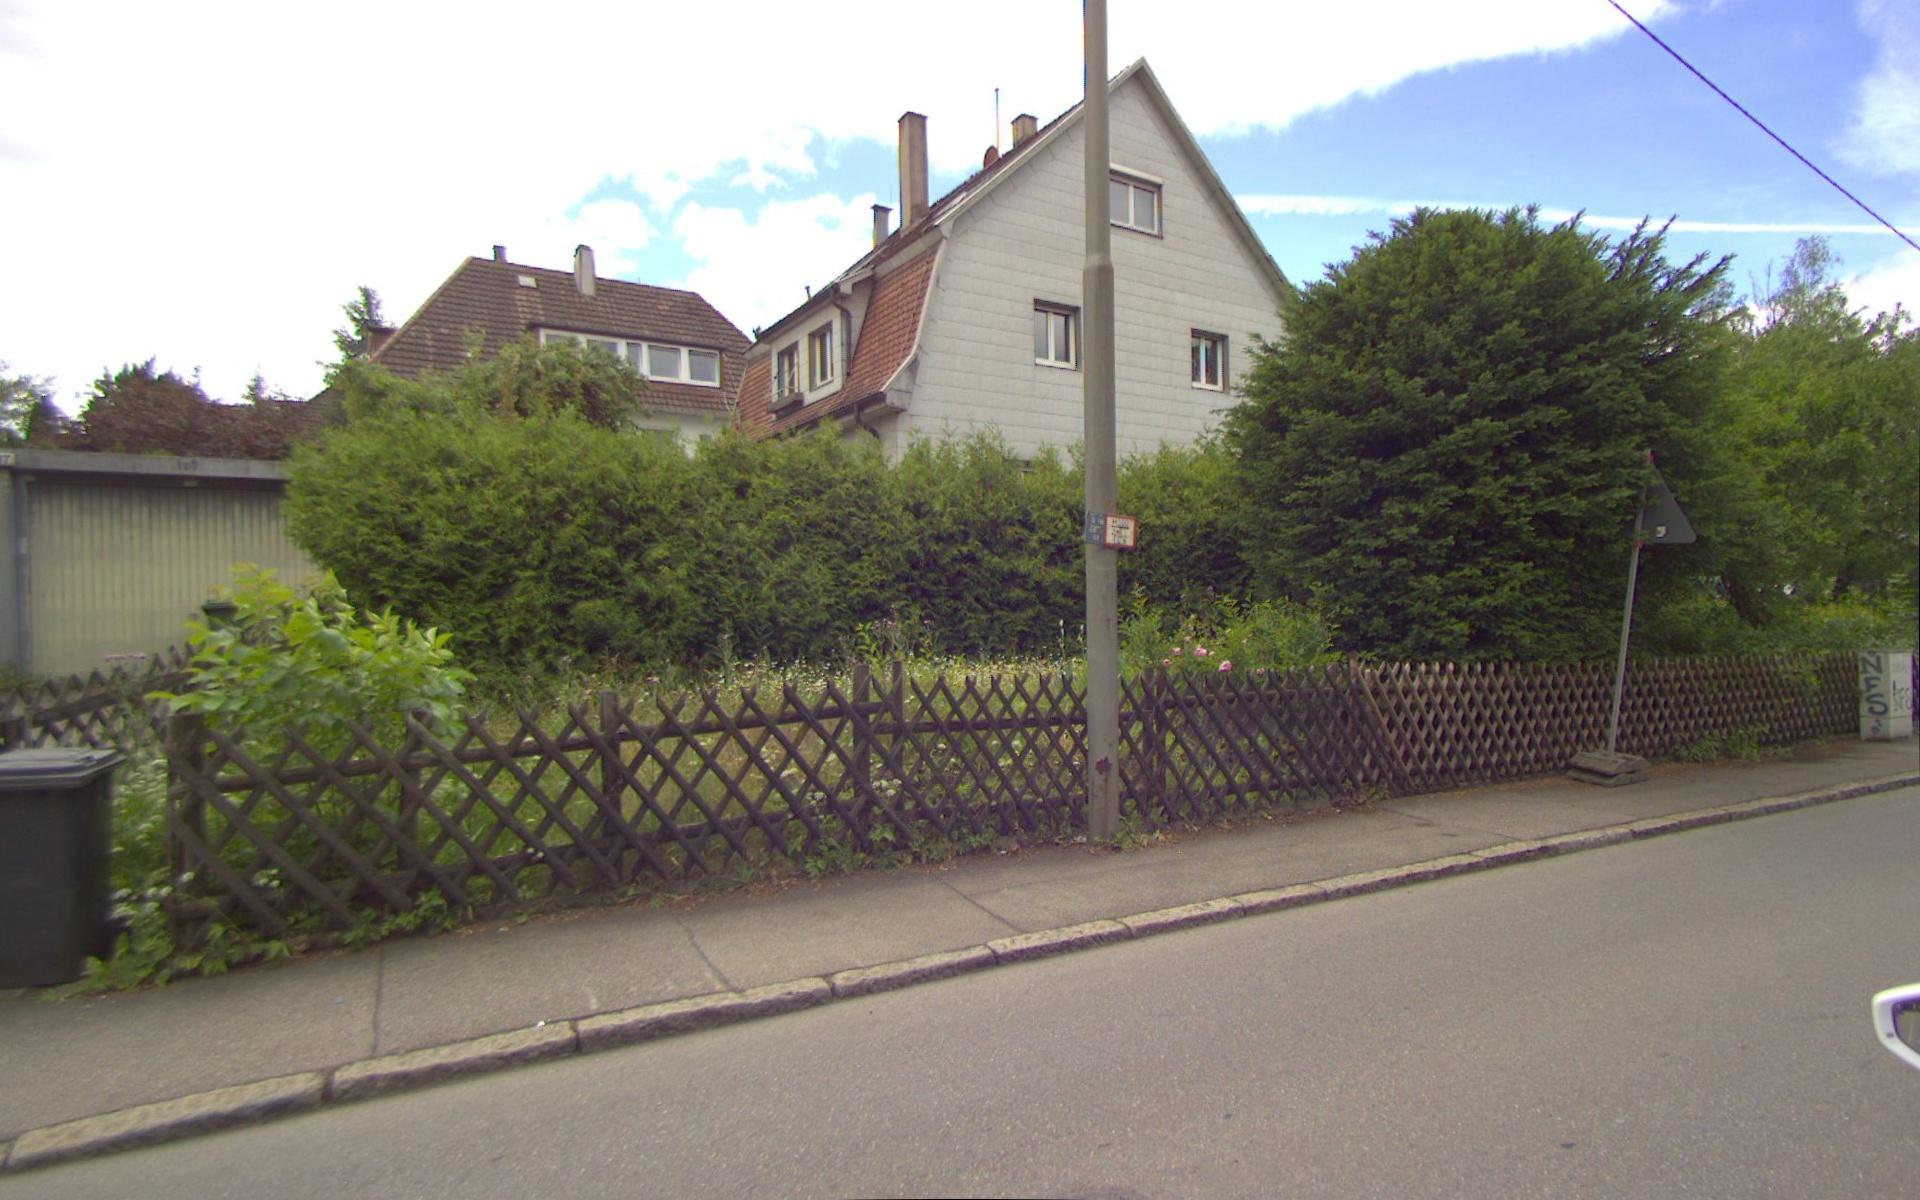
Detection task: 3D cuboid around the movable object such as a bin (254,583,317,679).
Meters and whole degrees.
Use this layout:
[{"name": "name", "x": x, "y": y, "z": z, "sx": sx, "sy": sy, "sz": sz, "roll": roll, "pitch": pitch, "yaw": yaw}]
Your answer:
[{"name": "movable object such as a bin", "x": -7.499, "y": 0.330, "z": 11.177, "sx": 0.494, "sy": 1.027, "sz": 0.490, "roll": -2, "pitch": 2, "yaw": -27}]

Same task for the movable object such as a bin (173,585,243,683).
[{"name": "movable object such as a bin", "x": -8.113, "y": 0.353, "z": 10.855, "sx": 0.494, "sy": 1.027, "sz": 0.490, "roll": -2, "pitch": 2, "yaw": -27}]

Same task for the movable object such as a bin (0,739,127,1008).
[{"name": "movable object such as a bin", "x": -3.799, "y": 1.084, "z": 4.073, "sx": 0.531, "sy": 0.950, "sz": 0.548, "roll": 1, "pitch": -1, "yaw": -28}]
